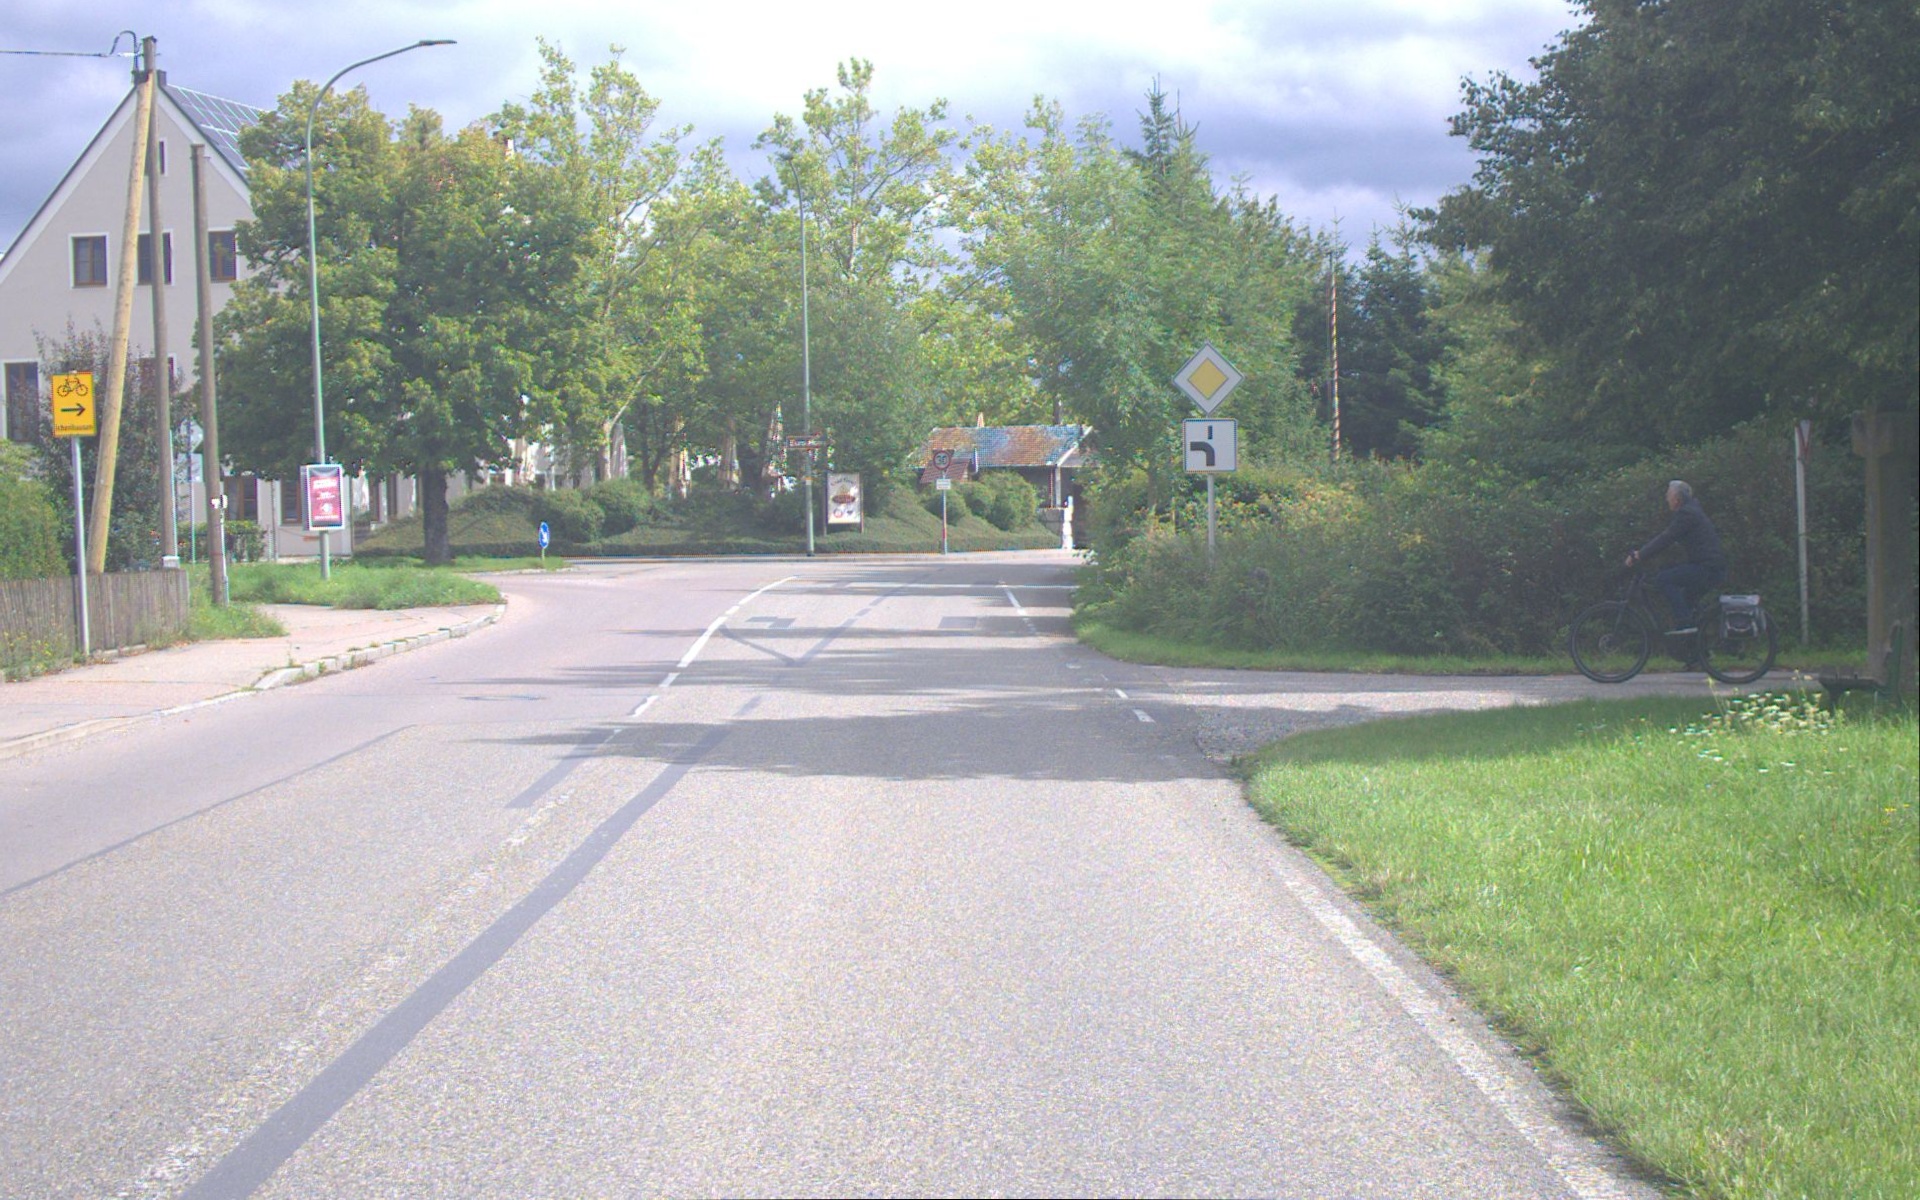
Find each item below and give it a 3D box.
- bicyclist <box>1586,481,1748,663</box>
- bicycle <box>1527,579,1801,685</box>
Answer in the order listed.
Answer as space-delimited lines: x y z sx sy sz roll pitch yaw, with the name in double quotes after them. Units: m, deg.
6.236 -0.258 30.351 1.017 1.579 1.054 0 2 -15 "bicyclist"
6.207 0.271 30.361 2.115 0.861 1.054 -1 2 -14 "bicycle"
